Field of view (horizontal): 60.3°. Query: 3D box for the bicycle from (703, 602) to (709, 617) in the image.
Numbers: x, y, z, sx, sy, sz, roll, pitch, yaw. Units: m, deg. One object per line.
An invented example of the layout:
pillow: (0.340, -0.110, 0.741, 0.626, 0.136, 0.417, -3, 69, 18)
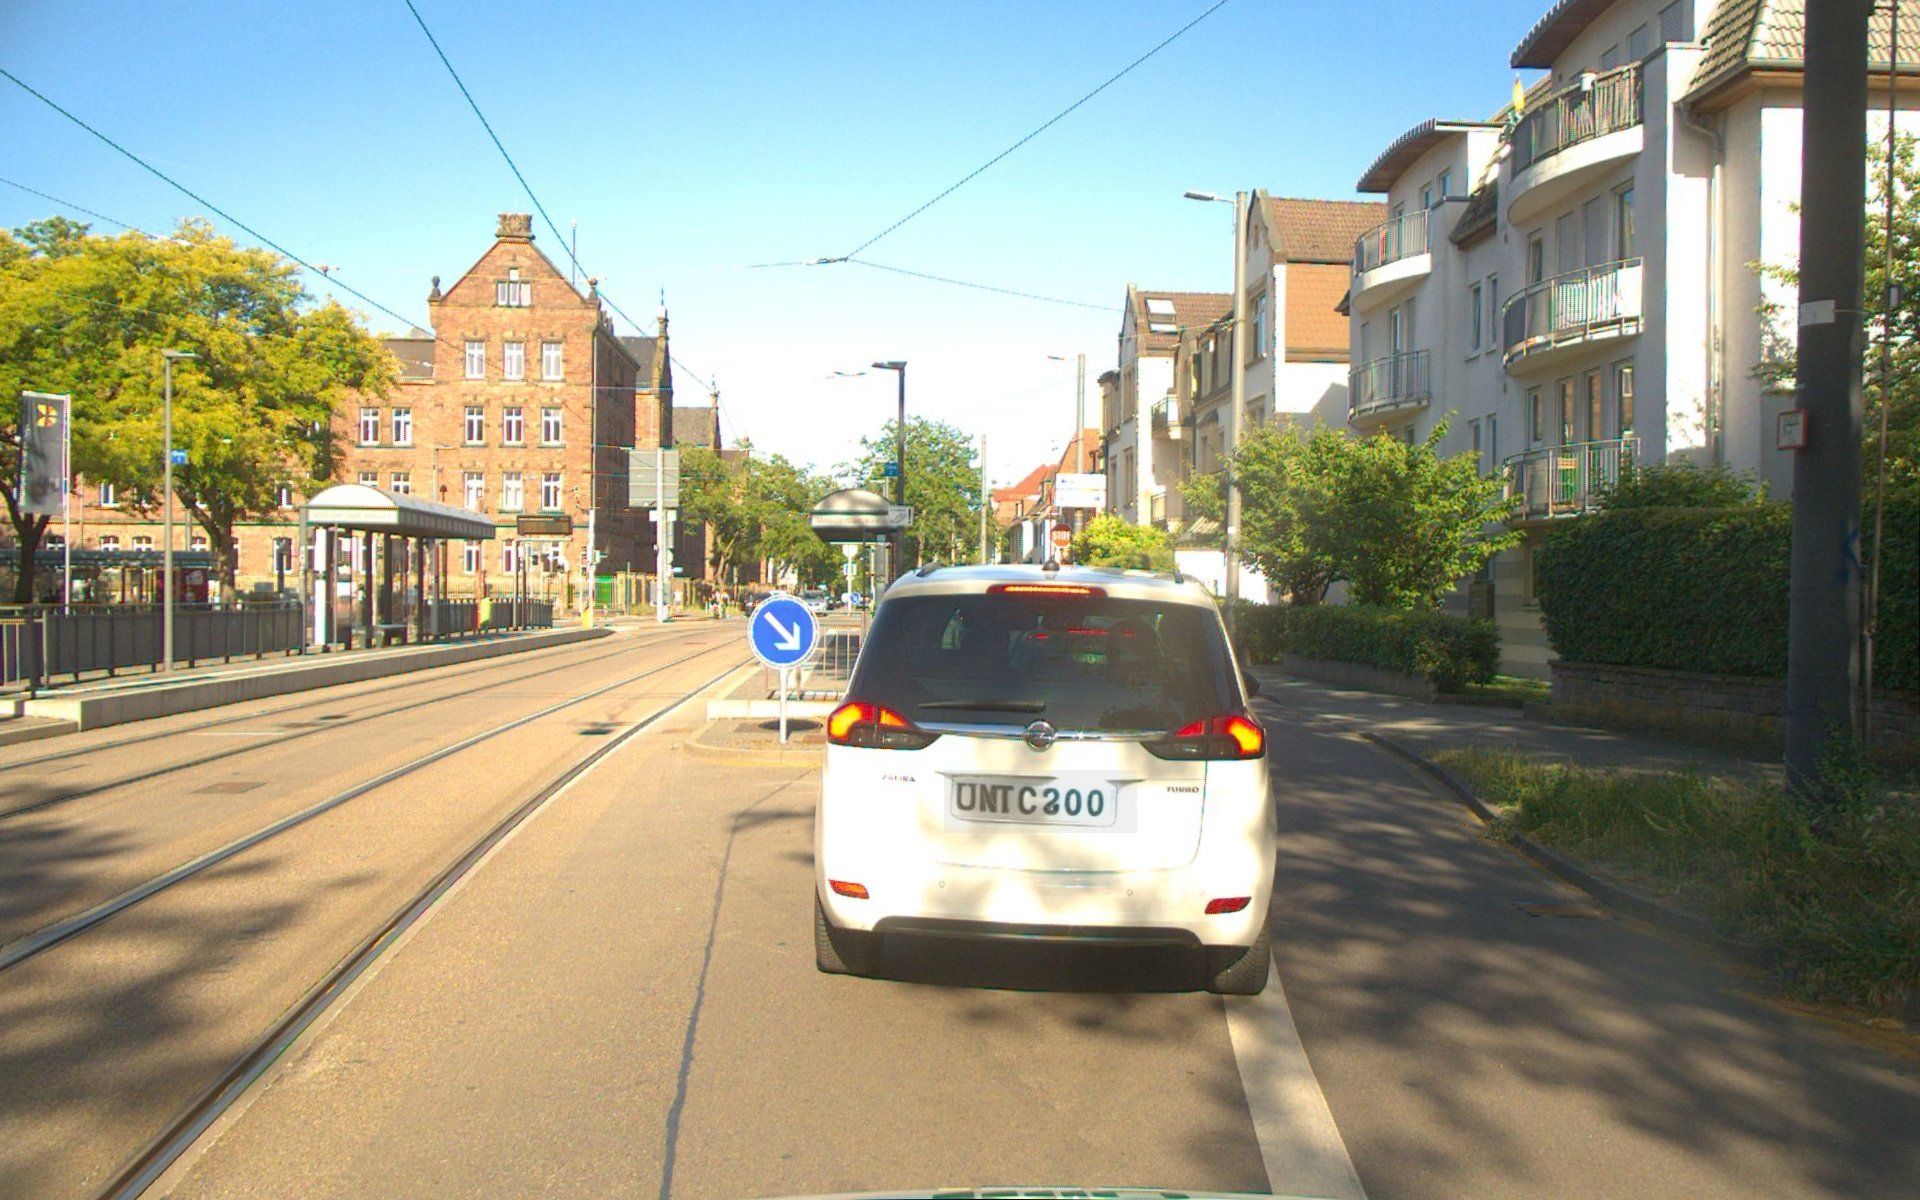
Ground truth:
bicycle: (-17.650, 0.660, 114.858, 0.337, 0.966, 0.996, 1, 0, -4)

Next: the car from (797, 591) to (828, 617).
car: (-9.542, 0.247, 107.159, 1.955, 1.657, 3.996, 0, 0, -5)

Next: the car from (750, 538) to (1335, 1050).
car: (0.460, 0.648, 7.596, 1.951, 1.673, 3.996, 1, 0, 6)

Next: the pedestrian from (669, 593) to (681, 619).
pedestrian: (-19.239, 0.422, 111.535, 0.720, 1.744, 0.706, 1, -1, -5)

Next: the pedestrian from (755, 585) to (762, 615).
pedestrian: (-13.643, 0.007, 111.770, 0.435, 2.049, 0.495, 0, 0, -4)

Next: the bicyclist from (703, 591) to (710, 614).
bicyclist: (-17.327, 0.182, 112.992, 0.435, 1.580, 0.495, 0, 0, -4)

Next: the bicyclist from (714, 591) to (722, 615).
bicyclist: (-15.570, 0.185, 106.323, 0.435, 1.580, 0.495, 0, 0, -4)

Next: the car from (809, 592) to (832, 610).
car: (-13.040, 0.056, 154.694, 1.953, 1.657, 3.998, 0, 0, -3)

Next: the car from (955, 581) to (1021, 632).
car: (0.833, 0.193, 51.767, 1.953, 1.529, 3.999, 0, 0, -1)

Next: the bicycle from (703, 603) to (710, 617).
bicycle: (-17.312, 0.658, 113.034, 0.337, 0.966, 0.996, 1, 0, -4)

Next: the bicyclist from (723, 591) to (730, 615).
bicyclist: (-15.378, 0.199, 108.911, 0.435, 1.580, 0.495, 0, 0, -4)

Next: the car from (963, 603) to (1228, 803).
car: (1.034, 0.749, 13.984, 1.912, 1.422, 4.001, 0, 0, 1)

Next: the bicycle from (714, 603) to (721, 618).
bicycle: (-15.607, 0.660, 106.365, 0.337, 0.966, 0.996, 1, 0, -4)

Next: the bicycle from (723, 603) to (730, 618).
bicycle: (-15.389, 0.674, 108.917, 0.337, 0.966, 0.996, 1, 0, -4)

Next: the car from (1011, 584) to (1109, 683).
car: (1.717, 0.552, 29.271, 1.603, 1.629, 3.855, 0, 0, 1)

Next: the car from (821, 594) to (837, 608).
car: (-16.585, 0.106, 209.506, 1.955, 1.657, 3.984, 0, 0, -5)

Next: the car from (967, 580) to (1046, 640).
car: (1.204, 0.259, 44.312, 1.953, 1.529, 3.999, 0, 0, -1)

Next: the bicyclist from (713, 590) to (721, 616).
bicyclist: (-15.149, 0.177, 103.047, 0.435, 1.580, 0.742, 0, 0, -4)

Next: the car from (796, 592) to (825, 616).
car: (-10.346, 0.263, 114.253, 1.955, 1.657, 3.996, 0, 0, -5)

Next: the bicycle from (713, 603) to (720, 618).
bicycle: (-15.158, 0.653, 102.839, 0.337, 0.966, 1.159, 1, 0, -4)

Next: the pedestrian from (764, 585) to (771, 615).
pedestrian: (-13.067, 0.018, 112.043, 0.435, 2.049, 0.495, 0, 0, -4)

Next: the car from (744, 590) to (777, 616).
car: (-12.852, 0.197, 106.886, 1.955, 1.657, 3.996, 0, 0, -5)

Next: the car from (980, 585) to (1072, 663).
car: (1.383, 0.494, 36.190, 1.793, 1.607, 4.009, 0, 0, -1)

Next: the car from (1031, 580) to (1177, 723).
car: (1.727, 0.586, 20.843, 1.603, 1.629, 3.855, 0, 0, 1)
